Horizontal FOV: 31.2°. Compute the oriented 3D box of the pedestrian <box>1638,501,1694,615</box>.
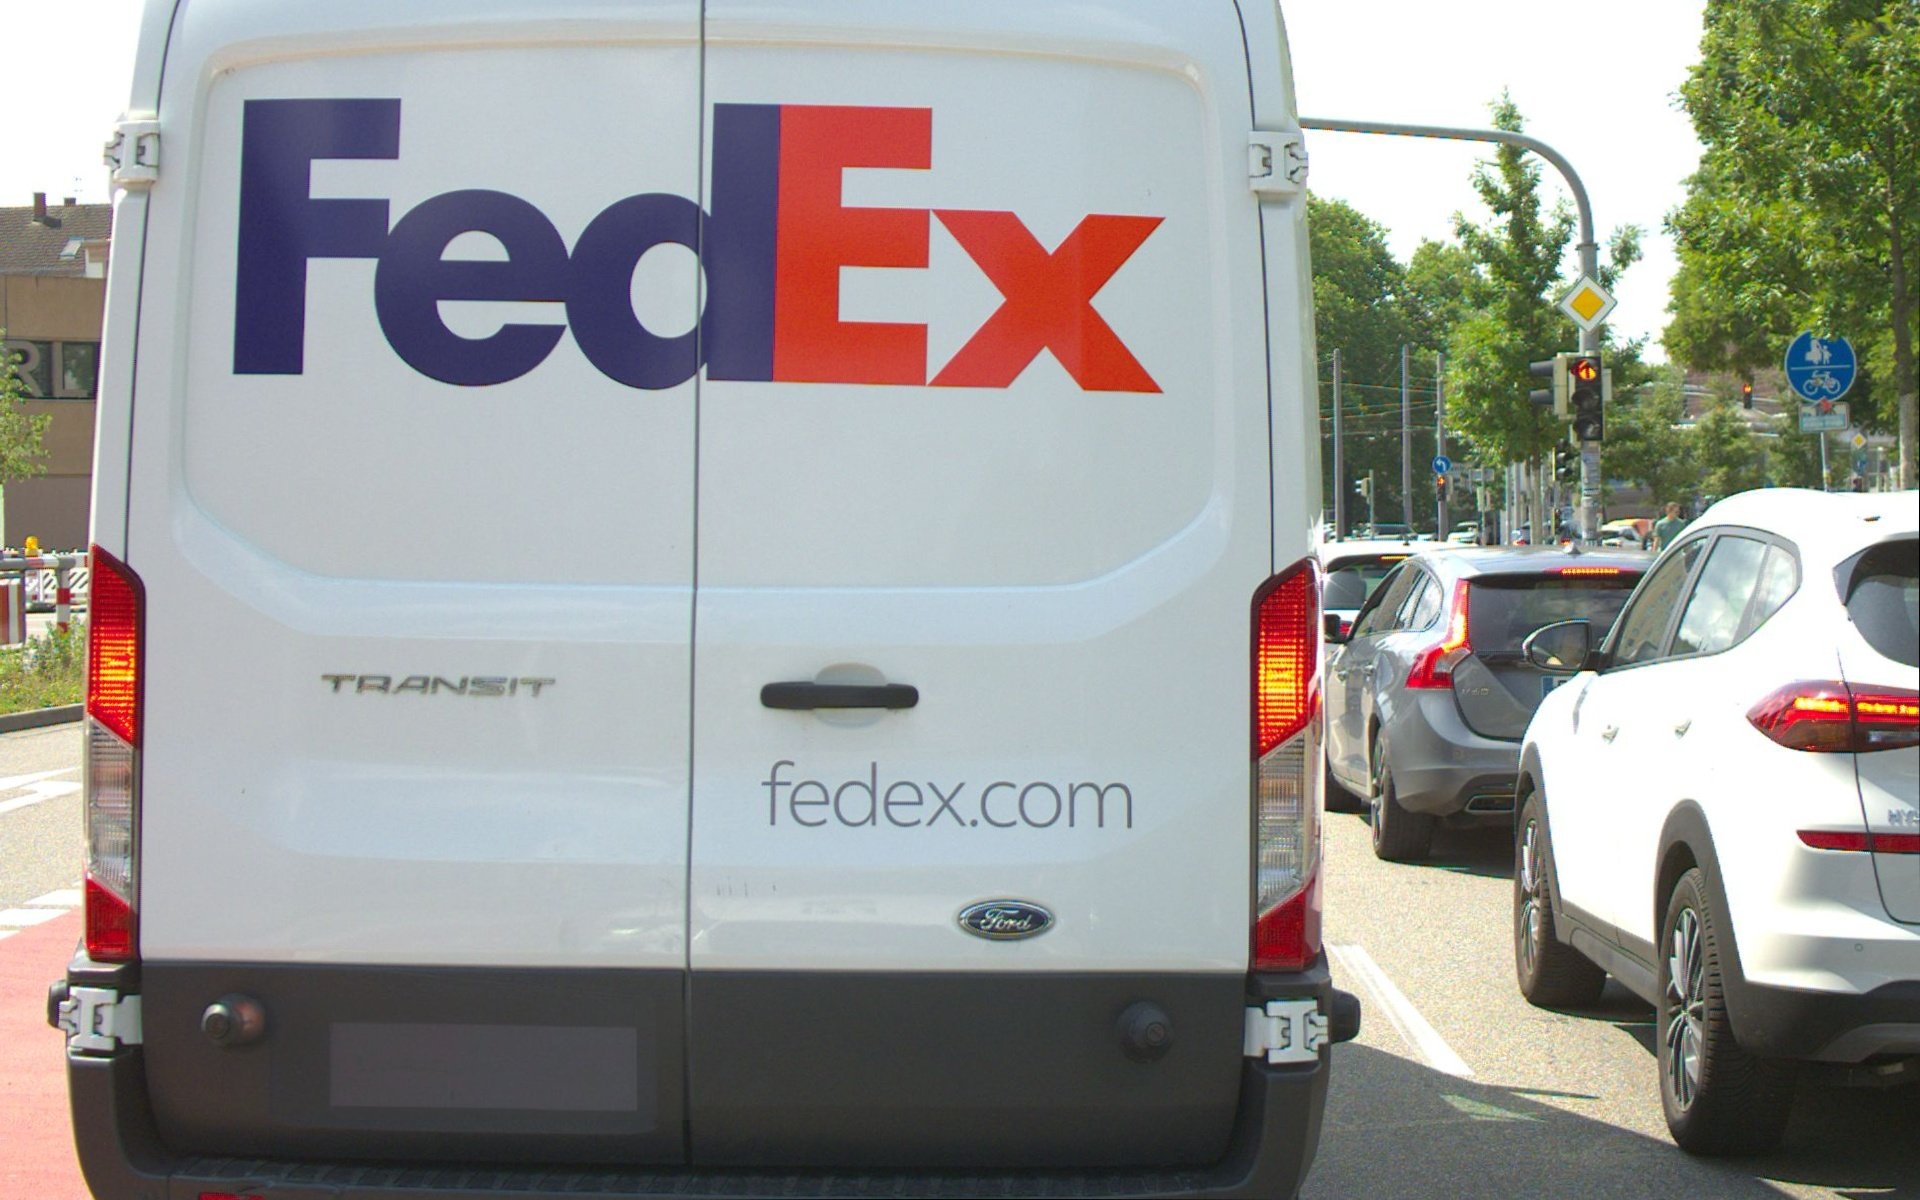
[{"bbox_3d":[11.560,-0.689,56.294,0.759,1.843,0.816,-1,1,1],"label":"pedestrian"}]

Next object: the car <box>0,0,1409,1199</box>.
[{"bbox_3d":[-0.354,0.073,7.205,2.072,2.572,4.428,0,1,1],"label":"car"}]

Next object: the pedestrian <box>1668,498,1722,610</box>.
[{"bbox_3d":[12.229,-0.768,57.232,0.759,1.843,0.816,-1,1,3],"label":"pedestrian"}]

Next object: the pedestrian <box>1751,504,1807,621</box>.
[{"bbox_3d":[12.588,-0.579,52.869,0.759,1.783,0.816,0,1,8],"label":"pedestrian"}]

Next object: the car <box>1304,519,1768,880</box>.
[{"bbox_3d":[2.683,0.389,16.761,1.691,1.543,3.720,0,1,1],"label":"car"}]

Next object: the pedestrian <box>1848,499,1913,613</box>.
[{"bbox_3d":[15.095,-0.732,56.363,0.758,1.843,0.816,-1,1,-8],"label":"pedestrian"}]

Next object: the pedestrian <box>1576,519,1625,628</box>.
[{"bbox_3d":[11.006,-0.463,59.056,0.759,1.843,0.816,0,1,15],"label":"pedestrian"}]

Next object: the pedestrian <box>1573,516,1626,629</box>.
[{"bbox_3d":[10.551,-0.456,56.700,0.759,1.843,0.815,0,1,18],"label":"pedestrian"}]

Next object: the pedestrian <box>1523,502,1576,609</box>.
[{"bbox_3d":[10.275,-0.784,59.904,0.813,1.843,0.761,-1,1,3],"label":"pedestrian"}]

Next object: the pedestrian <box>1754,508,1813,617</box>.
[{"bbox_3d":[14.048,-0.643,58.662,0.758,1.843,0.816,-1,1,-5],"label":"pedestrian"}]

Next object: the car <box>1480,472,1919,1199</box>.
[{"bbox_3d":[2.610,0.503,9.442,1.814,1.673,3.974,0,1,1],"label":"car"}]

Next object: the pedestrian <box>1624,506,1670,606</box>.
[{"bbox_3d":[12.897,-0.831,64.521,0.759,1.843,0.816,-1,1,6],"label":"pedestrian"}]

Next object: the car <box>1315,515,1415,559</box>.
[{"bbox_3d":[17.978,-2.793,152.739,4.339,1.865,1.925,1,0,5],"label":"car"}]

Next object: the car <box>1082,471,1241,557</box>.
[{"bbox_3d":[6.762,-2.828,114.211,2.492,2.708,7.073,1,1,28],"label":"car"}]

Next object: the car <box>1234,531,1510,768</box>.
[{"bbox_3d":[2.723,0.277,23.293,1.499,1.459,3.474,0,1,1],"label":"car"}]

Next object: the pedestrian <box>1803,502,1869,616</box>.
[{"bbox_3d":[14.274,-0.672,56.026,0.758,1.843,0.816,-1,1,-10],"label":"pedestrian"}]
